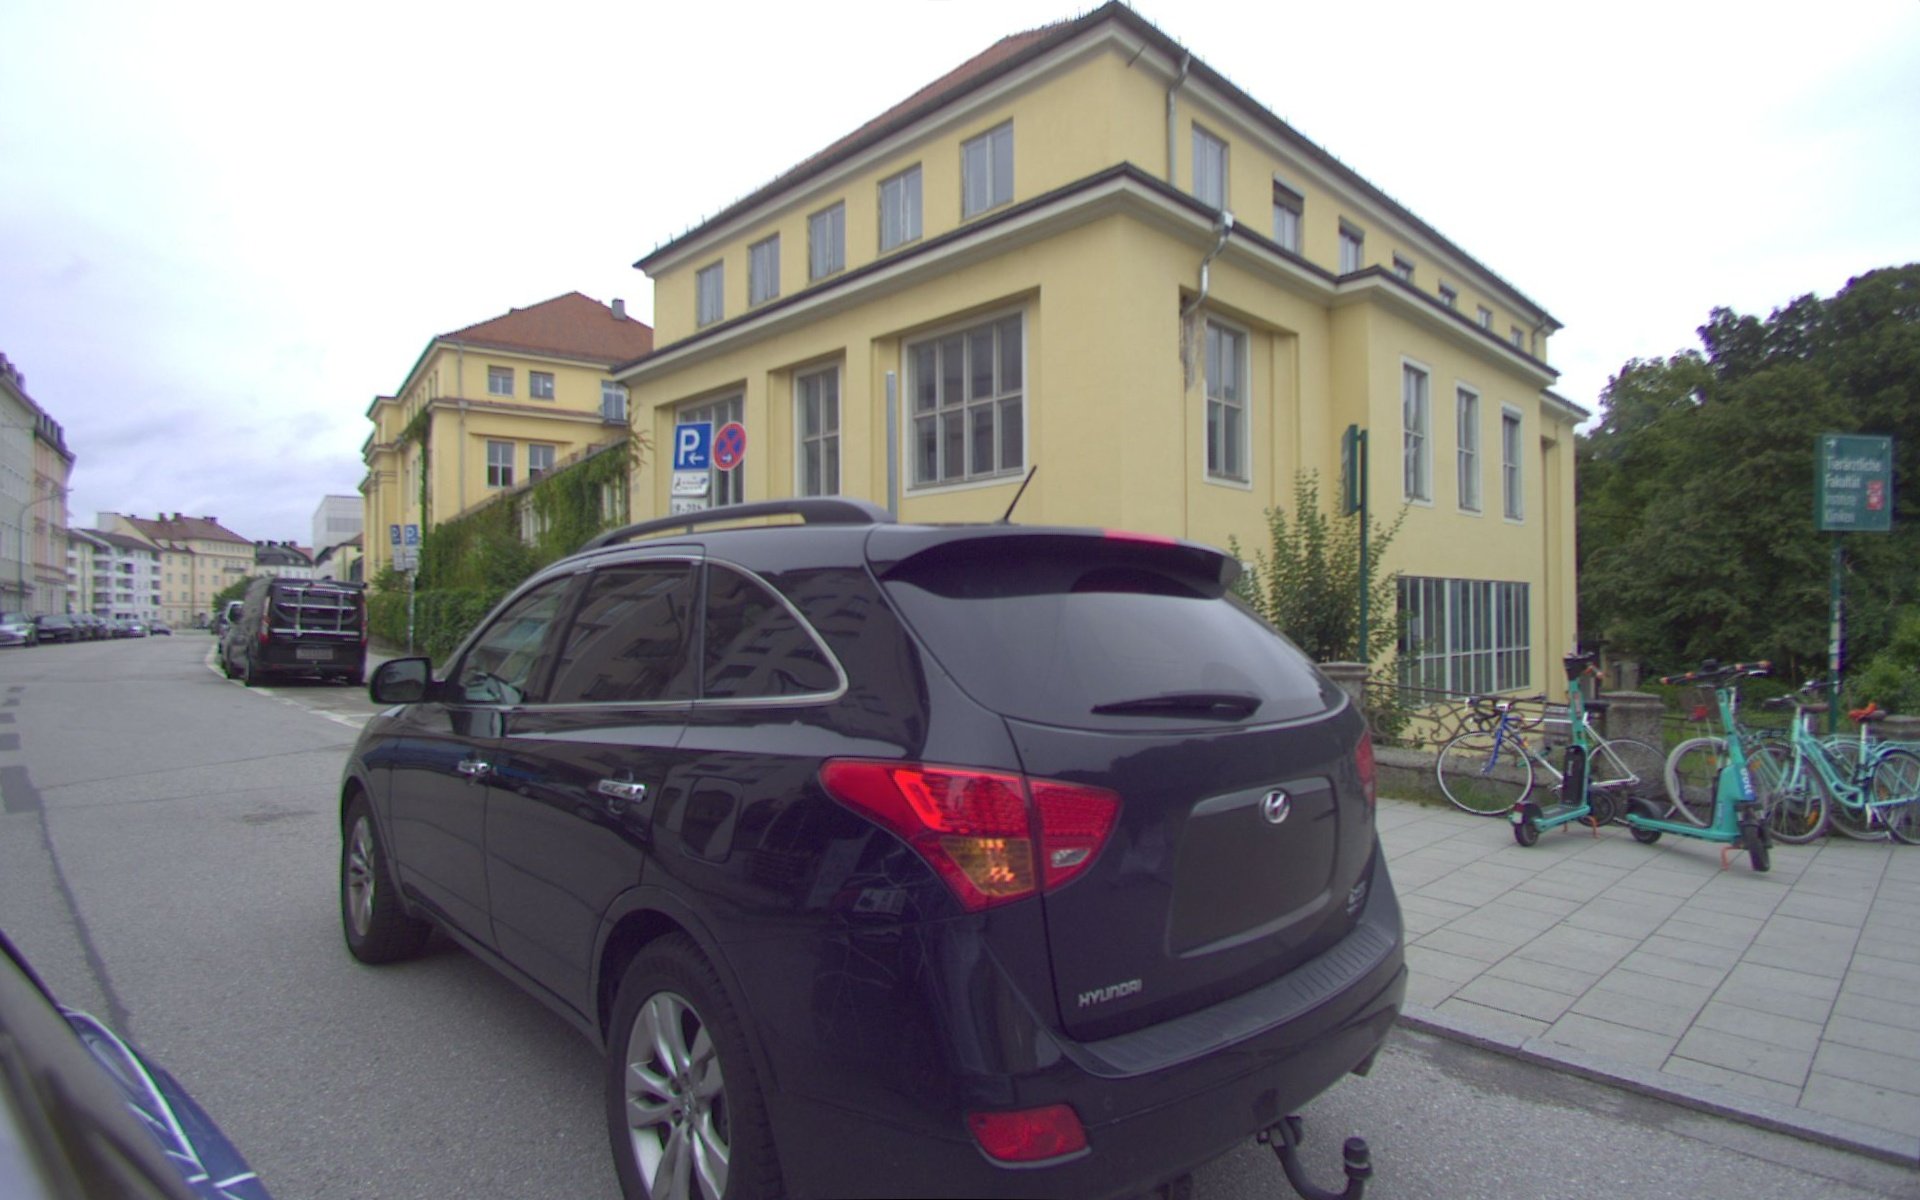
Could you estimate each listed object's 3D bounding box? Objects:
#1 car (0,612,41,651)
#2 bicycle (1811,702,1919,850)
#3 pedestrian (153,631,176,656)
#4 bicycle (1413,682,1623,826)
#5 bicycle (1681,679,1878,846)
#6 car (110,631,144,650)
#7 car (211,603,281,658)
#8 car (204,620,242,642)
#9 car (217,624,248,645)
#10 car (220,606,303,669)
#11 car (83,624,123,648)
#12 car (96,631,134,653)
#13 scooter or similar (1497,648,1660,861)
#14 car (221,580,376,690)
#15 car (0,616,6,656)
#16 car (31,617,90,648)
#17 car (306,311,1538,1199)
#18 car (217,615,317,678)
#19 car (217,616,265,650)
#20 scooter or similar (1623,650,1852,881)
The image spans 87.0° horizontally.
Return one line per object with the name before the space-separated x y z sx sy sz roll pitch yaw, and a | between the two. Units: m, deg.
car | -39.940 1.343 42.439 1.593 1.528 3.388 -4 1 -35
bicycle | 6.859 1.237 7.241 1.256 0.985 0.415 1 -2 -7
pedestrian | -93.091 5.089 118.441 1.899 2.973 2.030 2 -3 -36
bicycle | 4.128 1.116 7.566 1.324 0.900 0.430 1 -1 28
bicycle | 5.750 1.132 7.114 1.174 1.119 0.301 1 -1 -3
car | -72.975 3.533 88.665 1.970 1.584 4.501 -2 0 -36
car | -26.584 1.158 37.636 1.868 1.812 4.892 6 -5 -36
car | -85.777 3.632 117.727 2.805 2.571 6.901 2 -3 -42
car | -52.724 2.493 73.379 1.711 1.450 3.788 4 -4 -36
car | -20.051 1.080 28.990 1.680 1.619 4.500 5 -4 -37
car | -59.391 2.472 70.174 1.741 1.552 4.010 -3 0 -35
car | -62.859 3.113 75.329 1.697 1.477 4.203 -2 0 -34
scooter or similar | 4.072 0.962 6.637 1.243 1.253 0.395 1 0 -33
car | -13.663 0.739 20.781 1.901 1.994 4.628 5 -5 -41
car | -33.379 1.248 33.617 1.803 1.392 4.501 -2 0 -36
car | -45.004 1.622 50.707 1.849 1.458 4.710 -1 -1 -37
car | -0.755 0.541 3.723 1.970 1.732 4.619 1 -2 -43
car | -17.139 1.146 24.954 1.685 1.376 4.009 6 -5 -38
car | -35.500 1.624 49.923 1.695 1.492 4.229 6 -5 -37
scooter or similar | 4.676 0.944 6.158 0.432 1.221 1.056 1 0 -13
